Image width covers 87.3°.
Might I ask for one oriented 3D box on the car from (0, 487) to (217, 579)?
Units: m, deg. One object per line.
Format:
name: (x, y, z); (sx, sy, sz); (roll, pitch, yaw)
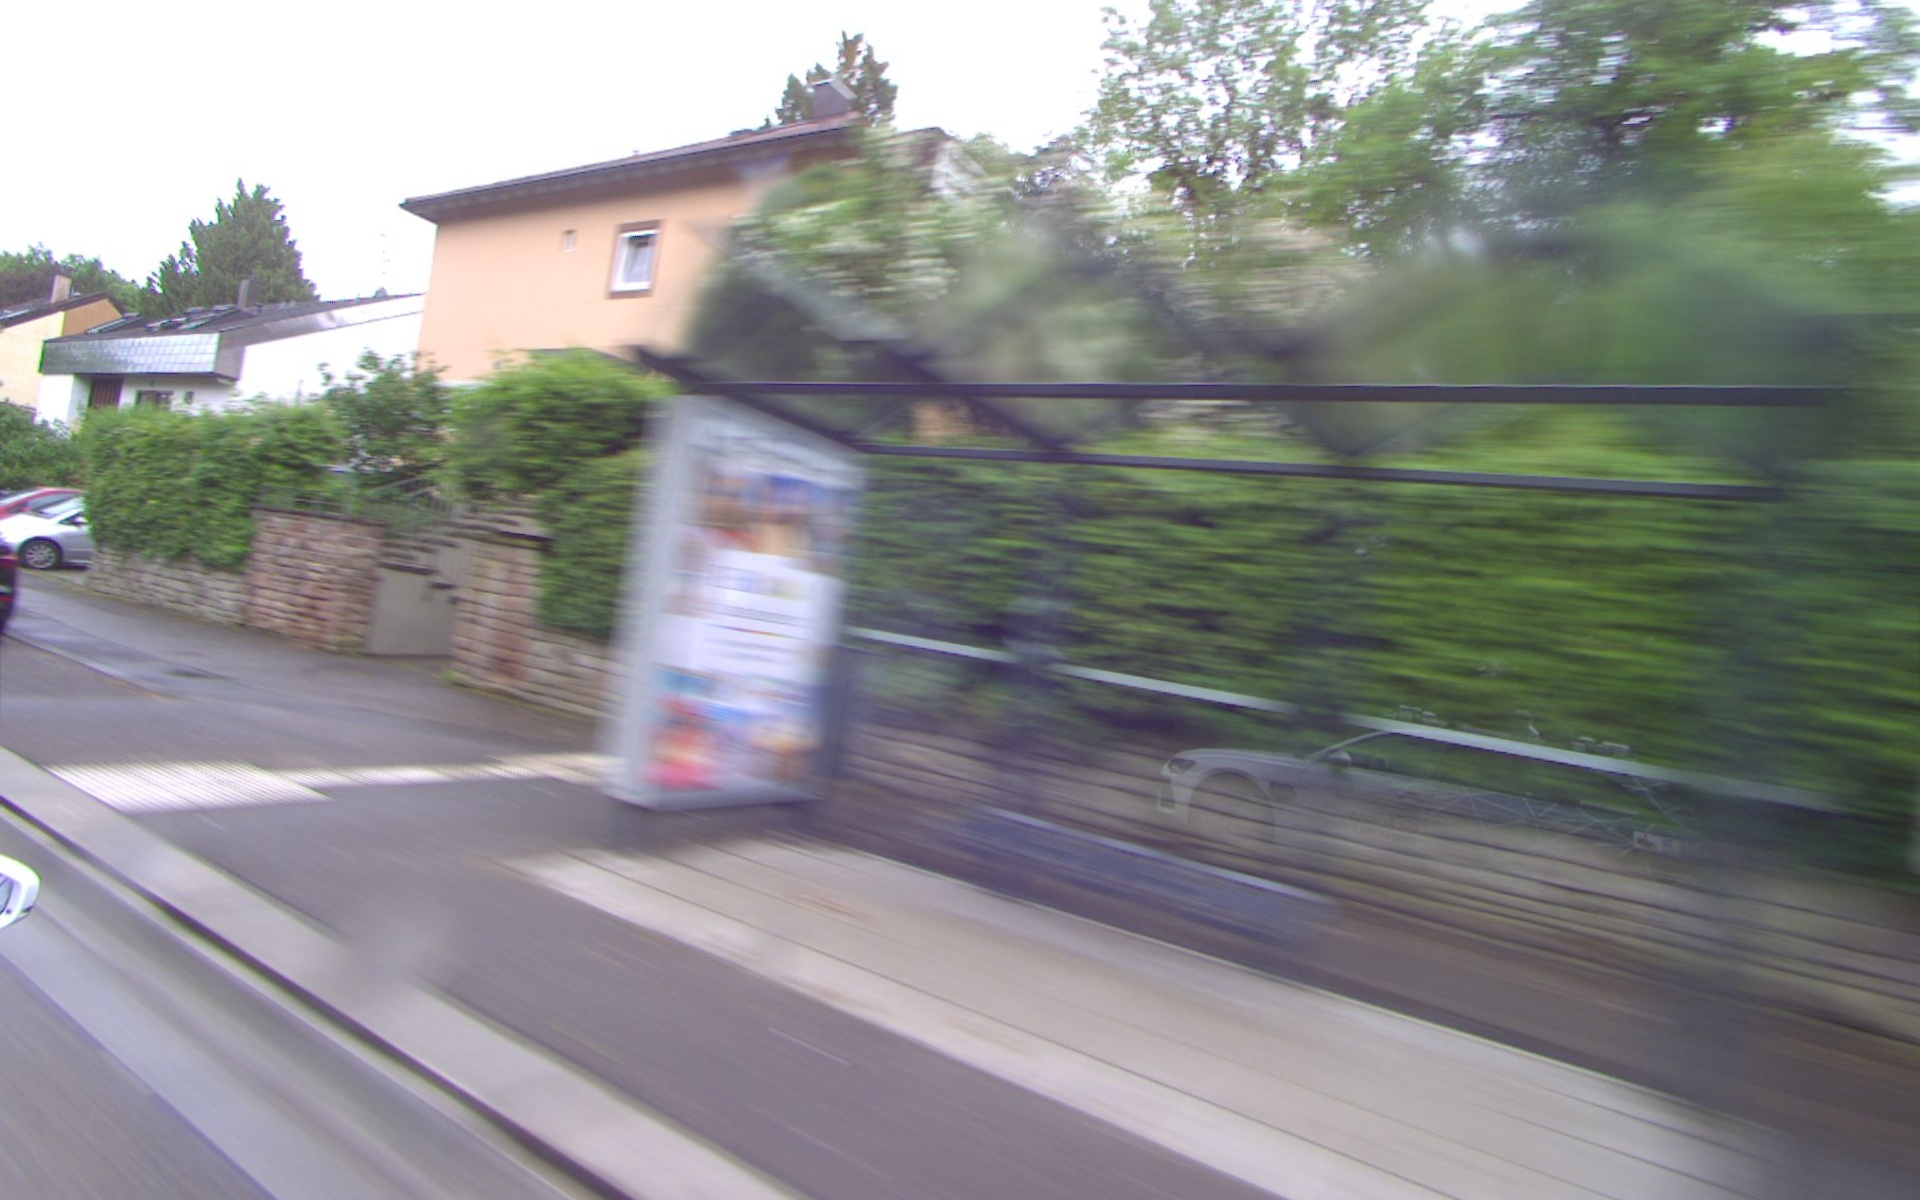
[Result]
car: (-18.407, -1.413, 21.450); (1.797, 1.556, 3.660); (7, 2, 29)

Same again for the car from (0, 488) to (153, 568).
car: (-22.534, -1.839, 24.329); (1.851, 1.477, 4.252); (6, -2, 32)

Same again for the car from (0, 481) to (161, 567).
car: (-20.940, -1.797, 23.030); (1.851, 1.585, 3.661); (7, 0, 32)

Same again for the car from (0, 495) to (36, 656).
car: (-11.689, -0.494, 10.565); (4.556, 1.565, 1.832); (6, -2, 34)
